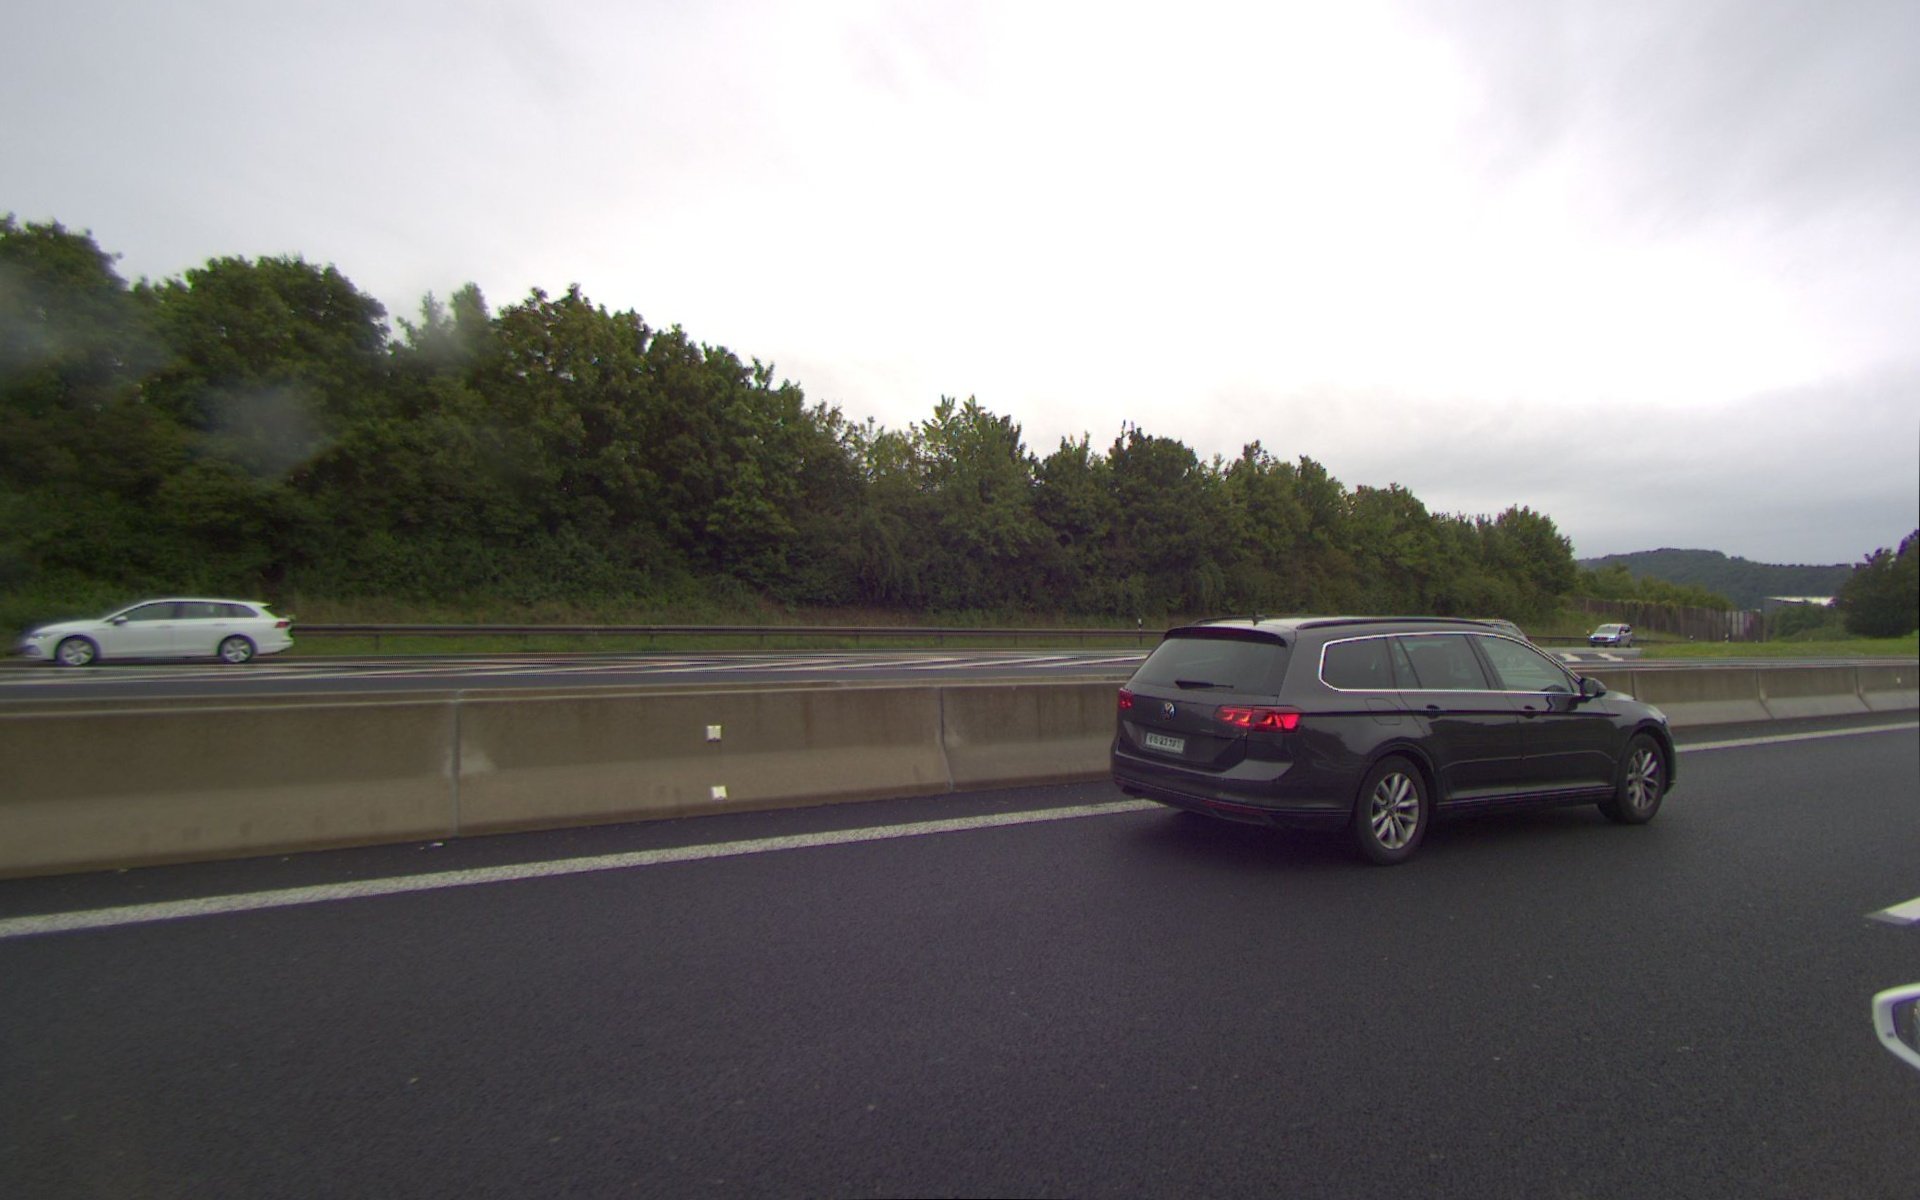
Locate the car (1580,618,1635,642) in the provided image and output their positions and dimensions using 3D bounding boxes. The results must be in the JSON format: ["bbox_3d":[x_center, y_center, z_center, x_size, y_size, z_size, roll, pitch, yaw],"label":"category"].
[{"bbox_3d":[49.557,2.297,76.805,4.527,1.718,2.163,1,-1,-38],"label":"car"}]

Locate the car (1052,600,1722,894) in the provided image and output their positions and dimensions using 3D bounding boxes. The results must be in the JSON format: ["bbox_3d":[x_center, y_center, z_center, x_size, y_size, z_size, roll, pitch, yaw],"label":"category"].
[{"bbox_3d":[3.174,0.823,7.197,4.793,1.517,1.892,2,-1,-29],"label":"car"}]

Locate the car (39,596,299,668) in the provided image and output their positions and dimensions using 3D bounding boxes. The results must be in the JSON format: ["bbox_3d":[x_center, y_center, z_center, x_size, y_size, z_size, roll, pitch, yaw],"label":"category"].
[{"bbox_3d":[-17.440,0.681,22.375,4.351,1.449,2.162,1,-1,-39],"label":"car"}]

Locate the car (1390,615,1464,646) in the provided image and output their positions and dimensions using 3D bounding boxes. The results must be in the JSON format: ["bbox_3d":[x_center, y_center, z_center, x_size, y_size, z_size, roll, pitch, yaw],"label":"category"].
[{"bbox_3d":[27.361,1.782,58.752,4.589,1.718,2.162,1,-1,-39],"label":"car"}]

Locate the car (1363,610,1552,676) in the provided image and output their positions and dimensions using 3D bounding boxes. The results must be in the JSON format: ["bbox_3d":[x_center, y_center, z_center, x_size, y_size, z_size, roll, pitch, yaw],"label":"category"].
[{"bbox_3d":[14.194,1.196,28.618,5.181,1.718,2.172,1,-1,-27],"label":"car"}]
